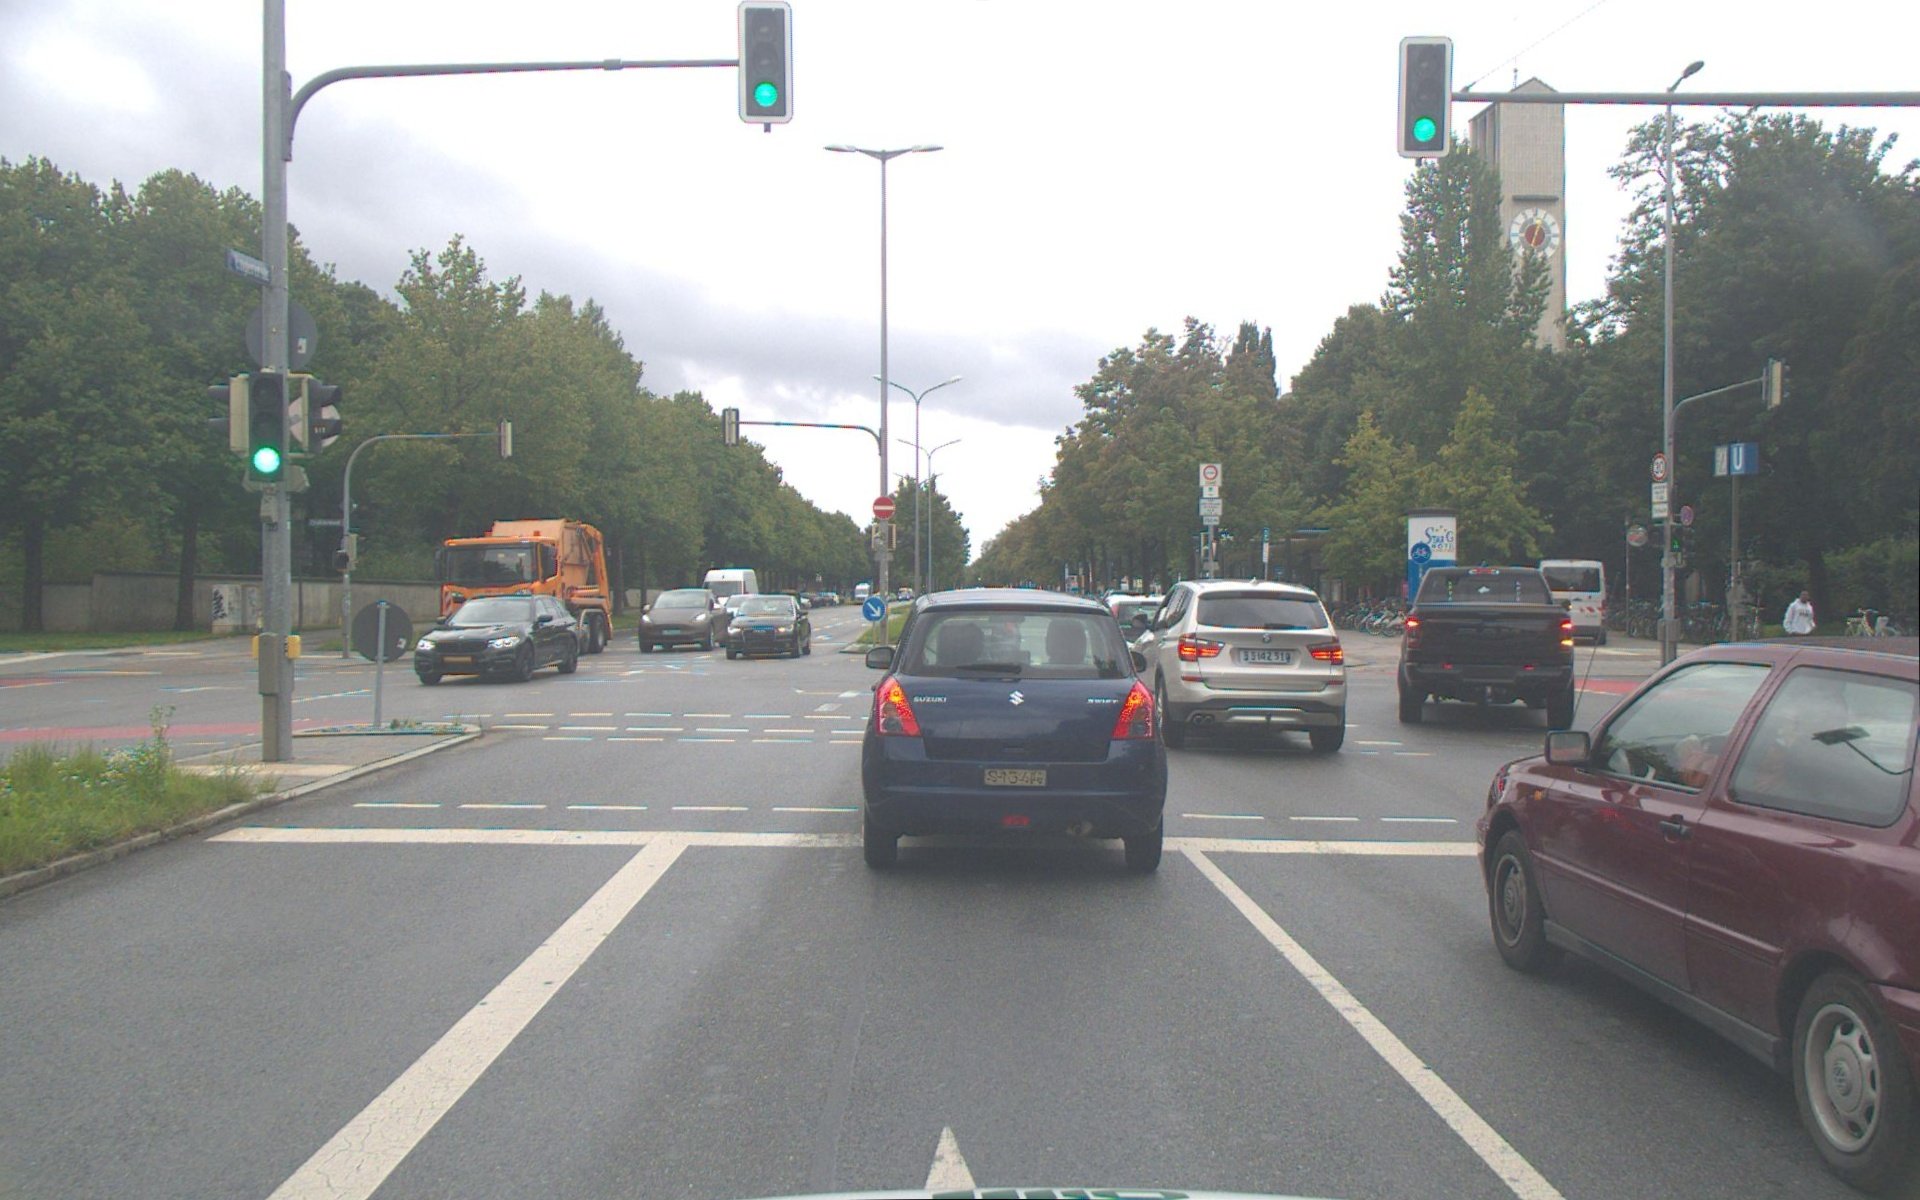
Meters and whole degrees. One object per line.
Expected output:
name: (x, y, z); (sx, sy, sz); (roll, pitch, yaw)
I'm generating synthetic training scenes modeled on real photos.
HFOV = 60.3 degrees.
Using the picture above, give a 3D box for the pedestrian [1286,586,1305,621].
pedestrian: (14.668, 0.161, 72.373); (0.569, 1.539, 0.691); (0, 0, -18)

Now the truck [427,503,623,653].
truck: (-10.675, -0.495, 41.393); (2.722, 3.415, 7.268); (0, 0, 2)

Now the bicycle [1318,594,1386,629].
bicycle: (14.190, 0.420, 59.836); (2.290, 1.177, 0.585); (-2, 0, 0)

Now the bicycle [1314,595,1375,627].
bicycle: (15.385, 0.437, 66.226); (2.290, 1.177, 0.529); (-2, 0, 0)

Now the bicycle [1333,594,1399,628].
bicycle: (15.152, 0.401, 61.715); (2.290, 1.177, 0.529); (-2, 0, 0)

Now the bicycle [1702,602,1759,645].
bicycle: (21.798, 0.645, 46.842); (0.701, 1.173, 2.129); (0, 0, 3)

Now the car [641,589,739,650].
car: (-7.216, 0.494, 44.643); (1.824, 1.569, 4.749); (0, 0, 0)

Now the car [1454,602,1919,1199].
car: (3.040, 0.757, 5.527); (1.589, 1.479, 3.949); (0, 0, 0)

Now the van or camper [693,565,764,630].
van or camper: (-10.264, -0.141, 73.947); (2.133, 2.693, 6.950); (-2, 0, 0)

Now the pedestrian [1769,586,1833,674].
pedestrian: (16.898, 0.598, 33.239); (0.745, 1.733, 0.937); (0, 0, -9)

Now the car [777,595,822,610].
car: (-15.261, 0.243, 157.122); (3.953, 1.378, 1.828); (0, 0, -35)

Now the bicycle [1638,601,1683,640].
bicycle: (21.913, 0.622, 51.718); (0.705, 1.173, 2.118); (0, 0, 40)

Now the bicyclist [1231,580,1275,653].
bicyclist: (7.290, 0.412, 41.181); (0.818, 1.795, 0.737); (0, 0, -35)

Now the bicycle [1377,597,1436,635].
bicycle: (14.491, 0.513, 53.667); (1.774, 1.162, 0.566); (-2, 0, -12)

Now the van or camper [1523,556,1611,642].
van or camper: (17.608, -0.044, 48.191); (2.096, 2.336, 6.202); (0, 0, 17)

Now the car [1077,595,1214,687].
car: (3.114, 0.647, 28.454); (1.813, 1.472, 4.096); (0, 0, -1)

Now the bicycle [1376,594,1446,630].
bicycle: (16.016, 0.419, 58.806); (2.290, 1.177, 0.585); (-2, 0, 0)

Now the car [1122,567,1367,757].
car: (2.862, 0.568, 17.513); (1.813, 1.773, 4.096); (0, 0, -1)

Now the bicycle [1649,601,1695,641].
bicycle: (21.549, 0.623, 50.017); (0.705, 1.173, 2.118); (0, 0, 40)

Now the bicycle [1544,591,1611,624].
bicycle: (23.481, 0.281, 62.893); (2.290, 1.177, 0.529); (-2, 0, 0)

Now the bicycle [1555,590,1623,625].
bicycle: (23.220, 0.285, 61.060); (2.290, 1.177, 0.529); (-2, 0, 0)

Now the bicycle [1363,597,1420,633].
bicycle: (14.367, 0.503, 55.123); (1.767, 1.162, 0.568); (-2, 0, 9)

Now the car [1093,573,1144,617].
car: (6.642, -0.214, 69.617); (1.711, 1.754, 4.906); (1, 1, 0)

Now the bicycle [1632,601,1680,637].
bicycle: (23.310, 0.631, 55.364); (2.112, 1.173, 0.707); (0, 0, -44)

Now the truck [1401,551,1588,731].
truck: (6.978, 0.460, 21.954); (2.054, 2.049, 5.816); (0, 0, 16)

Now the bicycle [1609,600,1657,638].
bicycle: (21.651, 0.608, 53.188); (0.706, 1.173, 2.114); (0, 0, 44)

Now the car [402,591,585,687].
car: (-8.162, 0.627, 29.432); (1.887, 1.487, 4.897); (-2, 0, -1)

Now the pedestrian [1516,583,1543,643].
pedestrian: (14.946, 0.338, 43.412); (0.676, 1.565, 0.738); (0, 0, 19)

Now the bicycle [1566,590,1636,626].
bicycle: (23.243, 0.291, 60.004); (2.290, 1.177, 0.529); (-2, 0, 0)

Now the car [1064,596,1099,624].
car: (6.740, 0.529, 92.097); (1.682, 1.535, 4.223); (0, 0, 0)

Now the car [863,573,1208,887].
car: (0.341, 0.650, 10.389); (1.753, 1.583, 3.999); (0, 0, -1)

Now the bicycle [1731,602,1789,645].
bicycle: (22.604, 0.661, 46.763); (0.682, 1.173, 2.129); (0, 0, 3)

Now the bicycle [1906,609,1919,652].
bicycle: (25.000, 0.795, 42.374); (0.595, 1.114, 2.116); (0, 0, 8)

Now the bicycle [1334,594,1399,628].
bicycle: (15.294, 0.410, 62.267); (2.290, 1.177, 0.529); (-2, 0, 0)

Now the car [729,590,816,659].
car: (-4.286, 0.533, 38.263); (1.606, 1.513, 3.781); (0, 0, 0)

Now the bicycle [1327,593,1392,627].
bicycle: (15.177, 0.365, 62.816); (2.290, 1.177, 0.529); (-2, 0, 0)

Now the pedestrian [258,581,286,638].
pedestrian: (-21.803, 0.298, 52.405); (0.693, 1.770, 0.517); (0, 0, -5)

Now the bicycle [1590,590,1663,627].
bicycle: (23.131, 0.303, 57.412); (2.290, 1.177, 0.529); (-2, 0, 0)

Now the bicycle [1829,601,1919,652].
bicycle: (23.879, 0.677, 43.224); (0.692, 1.272, 2.097); (0, 0, -25)

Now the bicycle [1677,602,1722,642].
bicycle: (22.127, 0.639, 49.474); (0.705, 1.173, 2.118); (0, 0, 40)

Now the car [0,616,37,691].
car: (-21.556, 1.168, 33.780); (4.276, 1.487, 1.926); (-2, 0, -13)

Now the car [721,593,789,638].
car: (-7.086, 0.510, 57.539); (1.692, 1.513, 4.743); (0, 0, 1)

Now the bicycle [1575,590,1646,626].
bicycle: (23.314, 0.297, 59.280); (2.290, 1.177, 0.529); (-2, 0, 0)

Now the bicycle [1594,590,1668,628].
bicycle: (23.059, 0.304, 56.818); (2.290, 1.177, 0.529); (-2, 0, 0)

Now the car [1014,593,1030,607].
car: (7.035, -0.043, 188.140); (1.649, 1.552, 4.456); (1, 0, 1)
